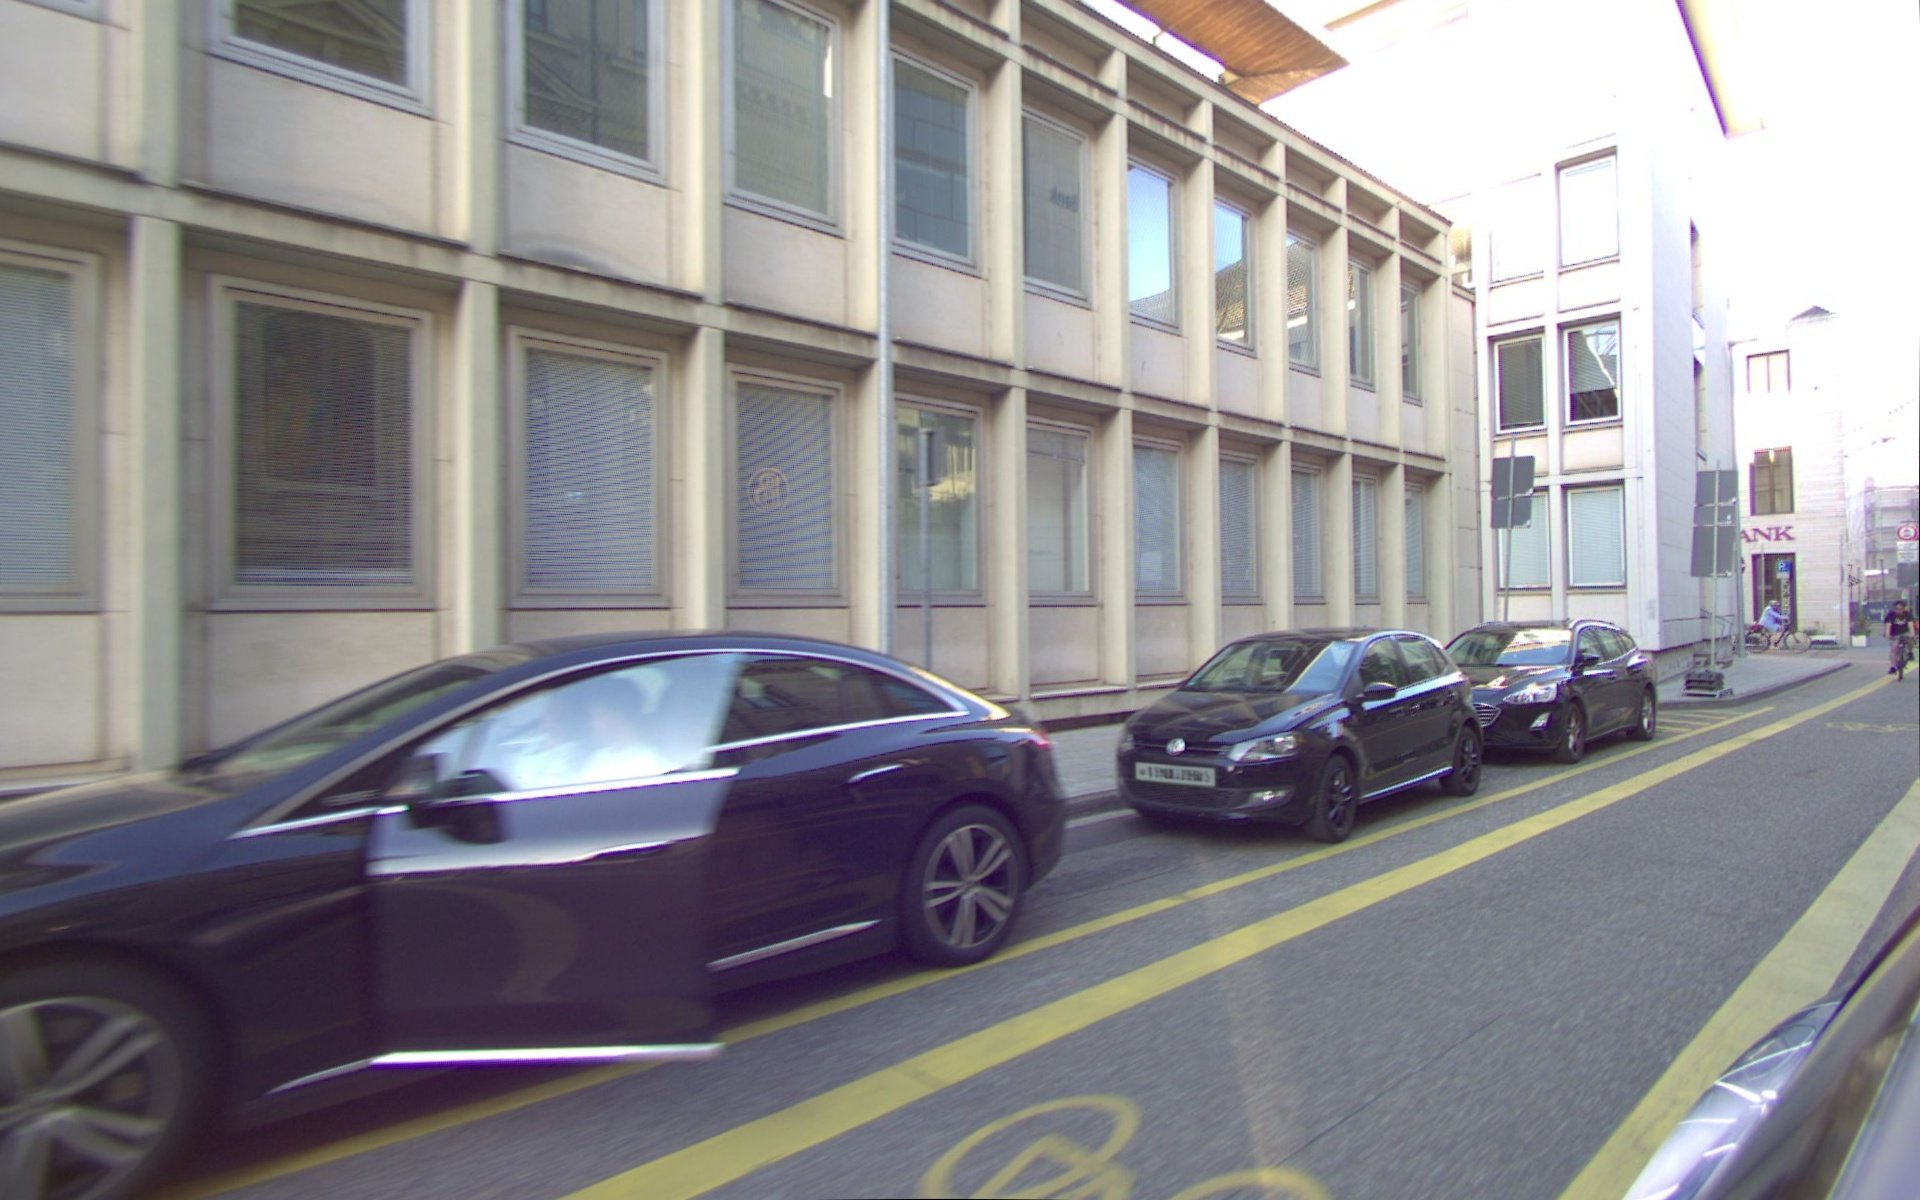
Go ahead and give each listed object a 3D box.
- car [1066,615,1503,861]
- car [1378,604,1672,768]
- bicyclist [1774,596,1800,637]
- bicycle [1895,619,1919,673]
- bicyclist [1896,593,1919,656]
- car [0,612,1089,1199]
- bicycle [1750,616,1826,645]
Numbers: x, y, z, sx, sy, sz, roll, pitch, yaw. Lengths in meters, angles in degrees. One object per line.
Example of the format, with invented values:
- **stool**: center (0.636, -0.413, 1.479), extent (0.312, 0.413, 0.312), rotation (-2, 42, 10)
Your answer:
- **car**: center (2.715, 0.867, 7.997), extent (3.821, 1.417, 1.628), rotation (0, -2, -43)
- **car**: center (6.582, 0.840, 11.588), extent (4.182, 1.511, 1.695), rotation (0, -2, -43)
- **bicyclist**: center (27.037, 0.536, 33.092), extent (0.610, 1.305, 0.530), rotation (-2, -2, 41)
- **bicycle**: center (20.146, 0.961, 21.317), extent (1.402, 1.080, 0.534), rotation (0, -2, -44)
- **bicyclist**: center (20.187, 0.512, 21.381), extent (0.542, 1.305, 0.537), rotation (0, -2, -43)
- **car**: center (-1.700, 0.835, 4.044), extent (4.708, 1.489, 1.699), rotation (0, -1, -41)
- **bicycle**: center (27.047, 1.006, 33.075), extent (1.865, 0.921, 0.527), rotation (-2, -2, 42)
